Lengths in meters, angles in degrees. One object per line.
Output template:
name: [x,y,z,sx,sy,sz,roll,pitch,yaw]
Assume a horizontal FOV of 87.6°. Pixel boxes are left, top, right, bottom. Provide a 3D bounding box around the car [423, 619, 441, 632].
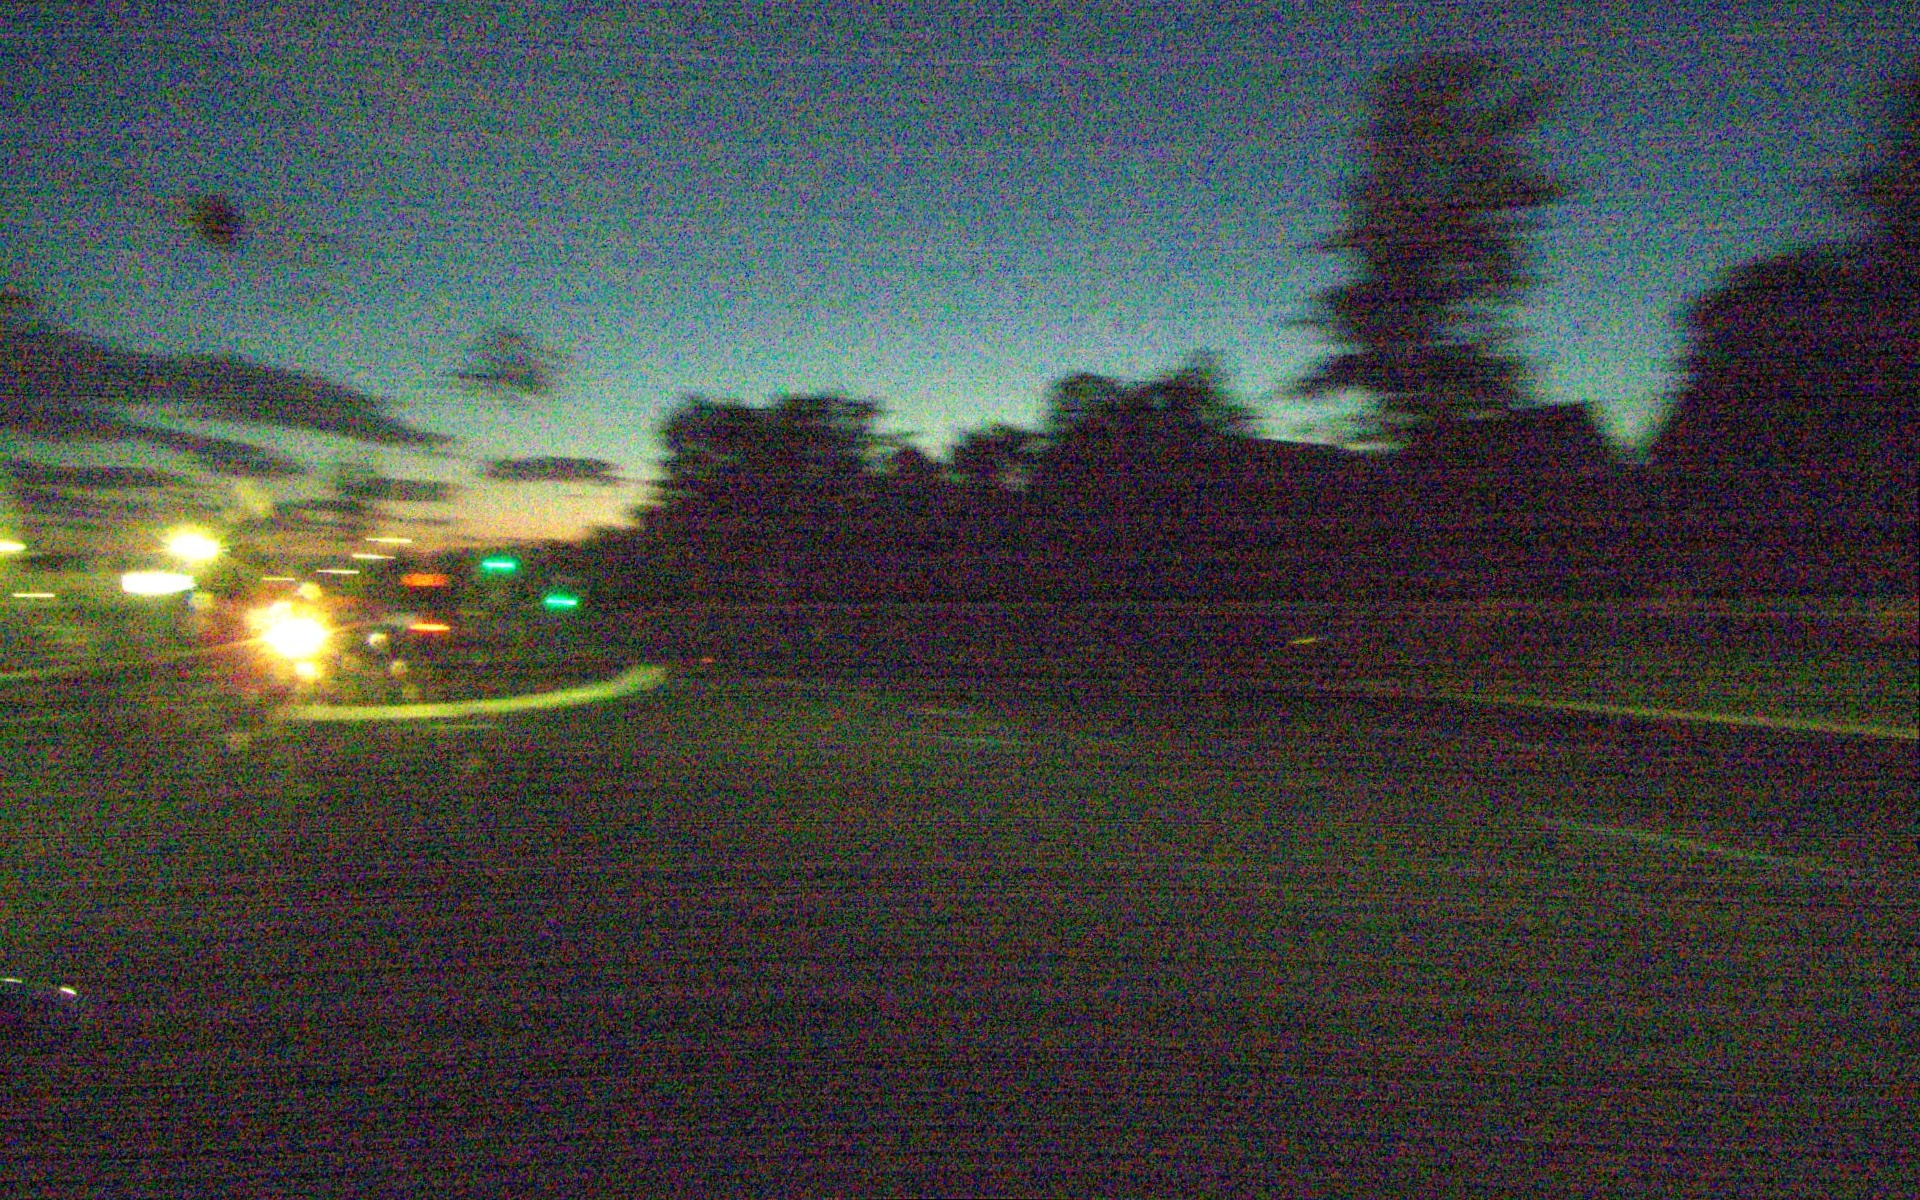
car: [-75.720,3.624,143.534,1.914,1.668,3.976,-2,1,-32]
